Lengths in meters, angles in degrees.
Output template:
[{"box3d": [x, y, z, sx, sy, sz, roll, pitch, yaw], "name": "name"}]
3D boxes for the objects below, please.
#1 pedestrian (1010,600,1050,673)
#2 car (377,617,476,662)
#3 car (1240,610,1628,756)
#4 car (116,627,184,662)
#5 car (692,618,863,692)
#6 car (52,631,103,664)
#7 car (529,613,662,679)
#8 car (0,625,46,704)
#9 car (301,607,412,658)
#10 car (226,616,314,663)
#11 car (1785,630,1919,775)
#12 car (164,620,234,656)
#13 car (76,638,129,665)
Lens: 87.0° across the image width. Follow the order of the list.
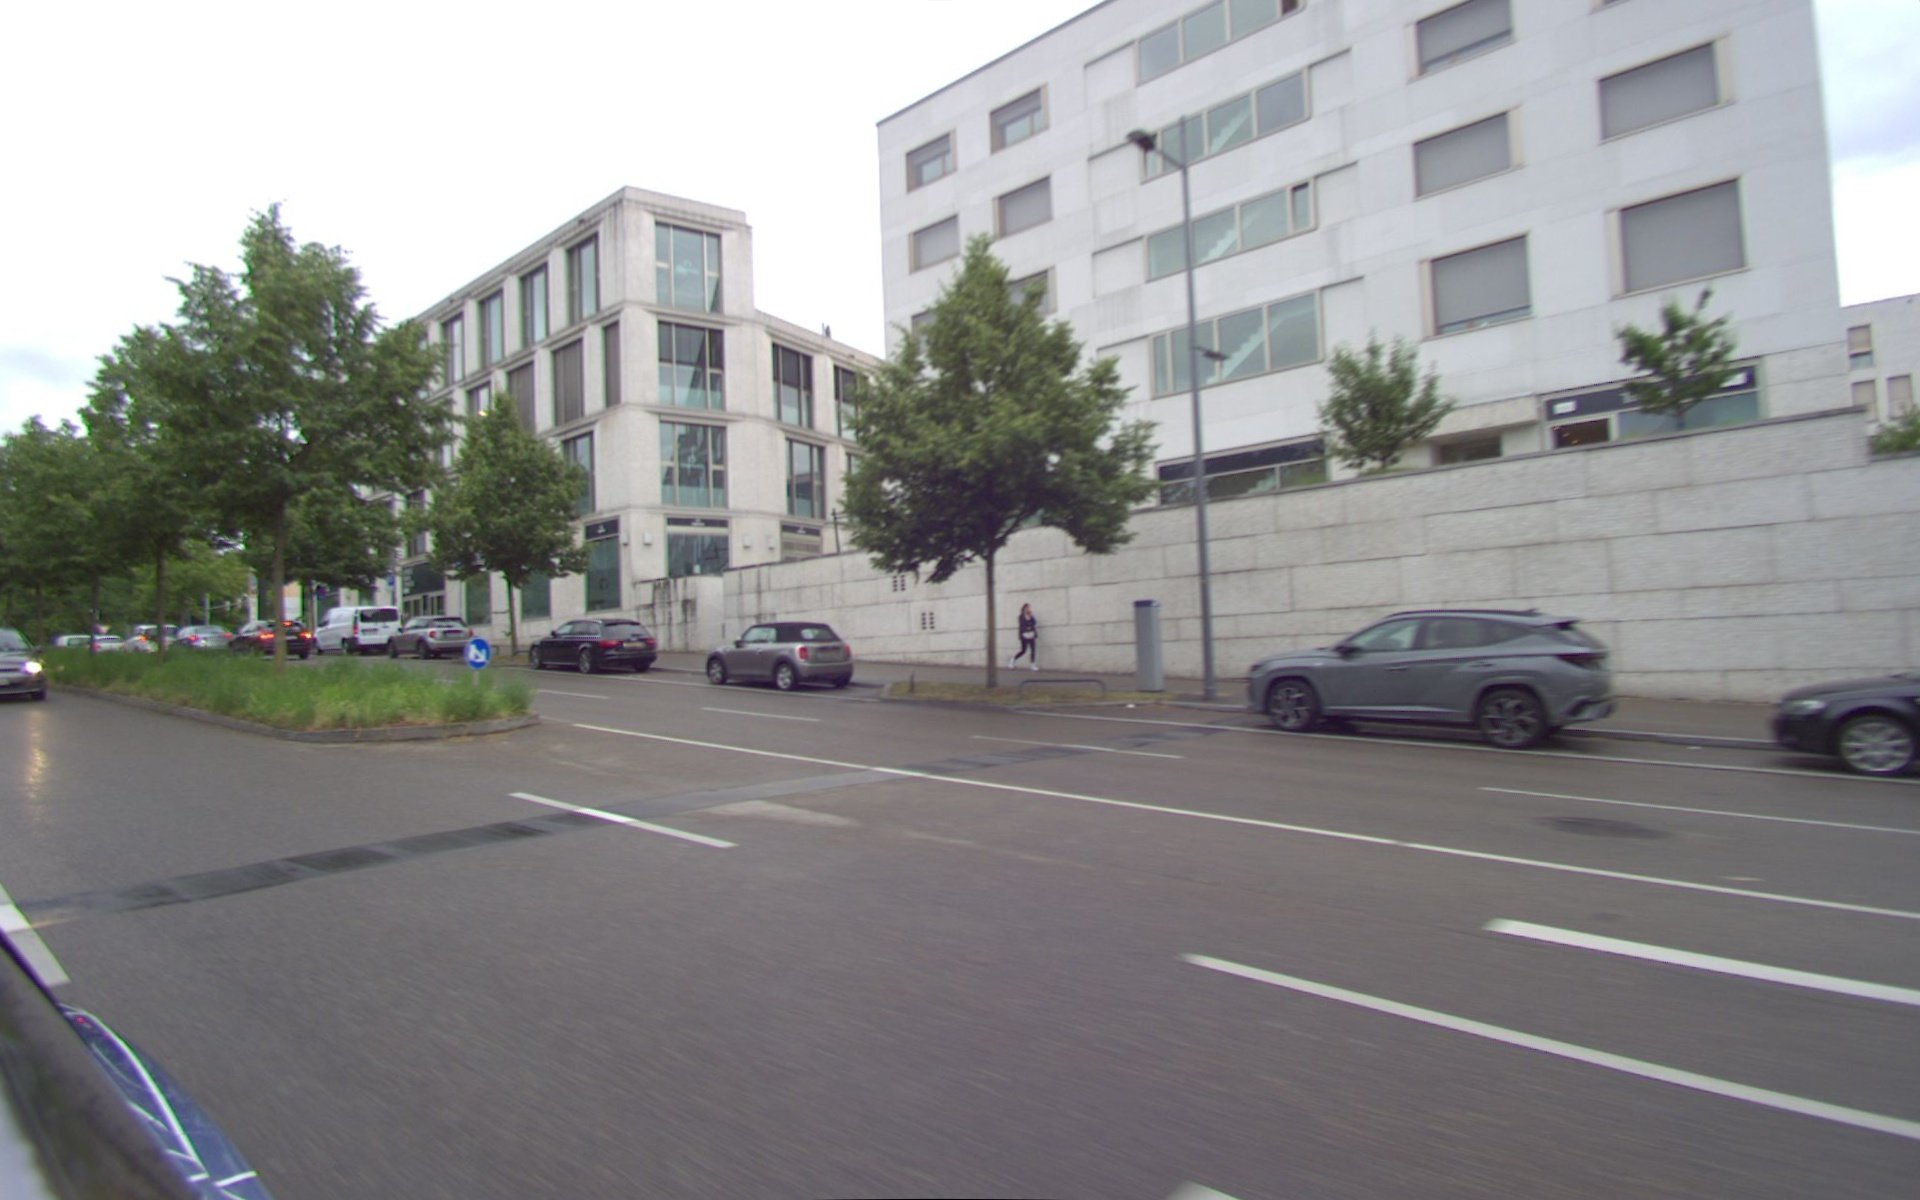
[{"box3d": [1.749, 0.897, 25.298, 0.691, 1.788, 0.711, -3, -2, 40], "name": "pedestrian"}, {"box3d": [-18.279, 1.338, 34.615, 3.695, 1.395, 1.678, -2, 0, 40], "name": "car"}, {"box3d": [6.104, 0.946, 13.370, 4.360, 1.632, 1.685, -1, -1, 41], "name": "car"}, {"box3d": [-39.788, 2.206, 49.678, 4.671, 1.613, 1.810, -3, -2, 41], "name": "car"}, {"box3d": [-4.093, 1.165, 22.387, 3.858, 1.455, 1.677, -2, 0, 42], "name": "car"}, {"box3d": [-57.022, 3.089, 65.362, 4.770, 1.816, 1.824, -6, -3, 41], "name": "car"}, {"box3d": [-9.915, 1.186, 27.394, 4.015, 1.593, 1.677, 0, 0, 41], "name": "car"}, {"box3d": [-19.535, 1.293, 20.037, 4.001, 1.450, 1.878, -3, -2, 44], "name": "car"}, {"box3d": [-23.664, 1.290, 39.616, 5.255, 1.829, 2.101, -3, -2, 39], "name": "car"}, {"box3d": [-25.590, 1.446, 37.485, 4.014, 1.593, 1.678, -2, 0, 41], "name": "car"}, {"box3d": [10.561, 0.976, 9.593, 4.161, 1.370, 1.677, -2, -2, 42], "name": "car"}, {"box3d": [-33.572, 1.684, 44.607, 3.993, 1.422, 1.624, -4, -4, 41], "name": "car"}, {"box3d": [-49.141, 2.929, 57.948, 4.058, 1.479, 1.725, -3, -3, 41], "name": "car"}]
